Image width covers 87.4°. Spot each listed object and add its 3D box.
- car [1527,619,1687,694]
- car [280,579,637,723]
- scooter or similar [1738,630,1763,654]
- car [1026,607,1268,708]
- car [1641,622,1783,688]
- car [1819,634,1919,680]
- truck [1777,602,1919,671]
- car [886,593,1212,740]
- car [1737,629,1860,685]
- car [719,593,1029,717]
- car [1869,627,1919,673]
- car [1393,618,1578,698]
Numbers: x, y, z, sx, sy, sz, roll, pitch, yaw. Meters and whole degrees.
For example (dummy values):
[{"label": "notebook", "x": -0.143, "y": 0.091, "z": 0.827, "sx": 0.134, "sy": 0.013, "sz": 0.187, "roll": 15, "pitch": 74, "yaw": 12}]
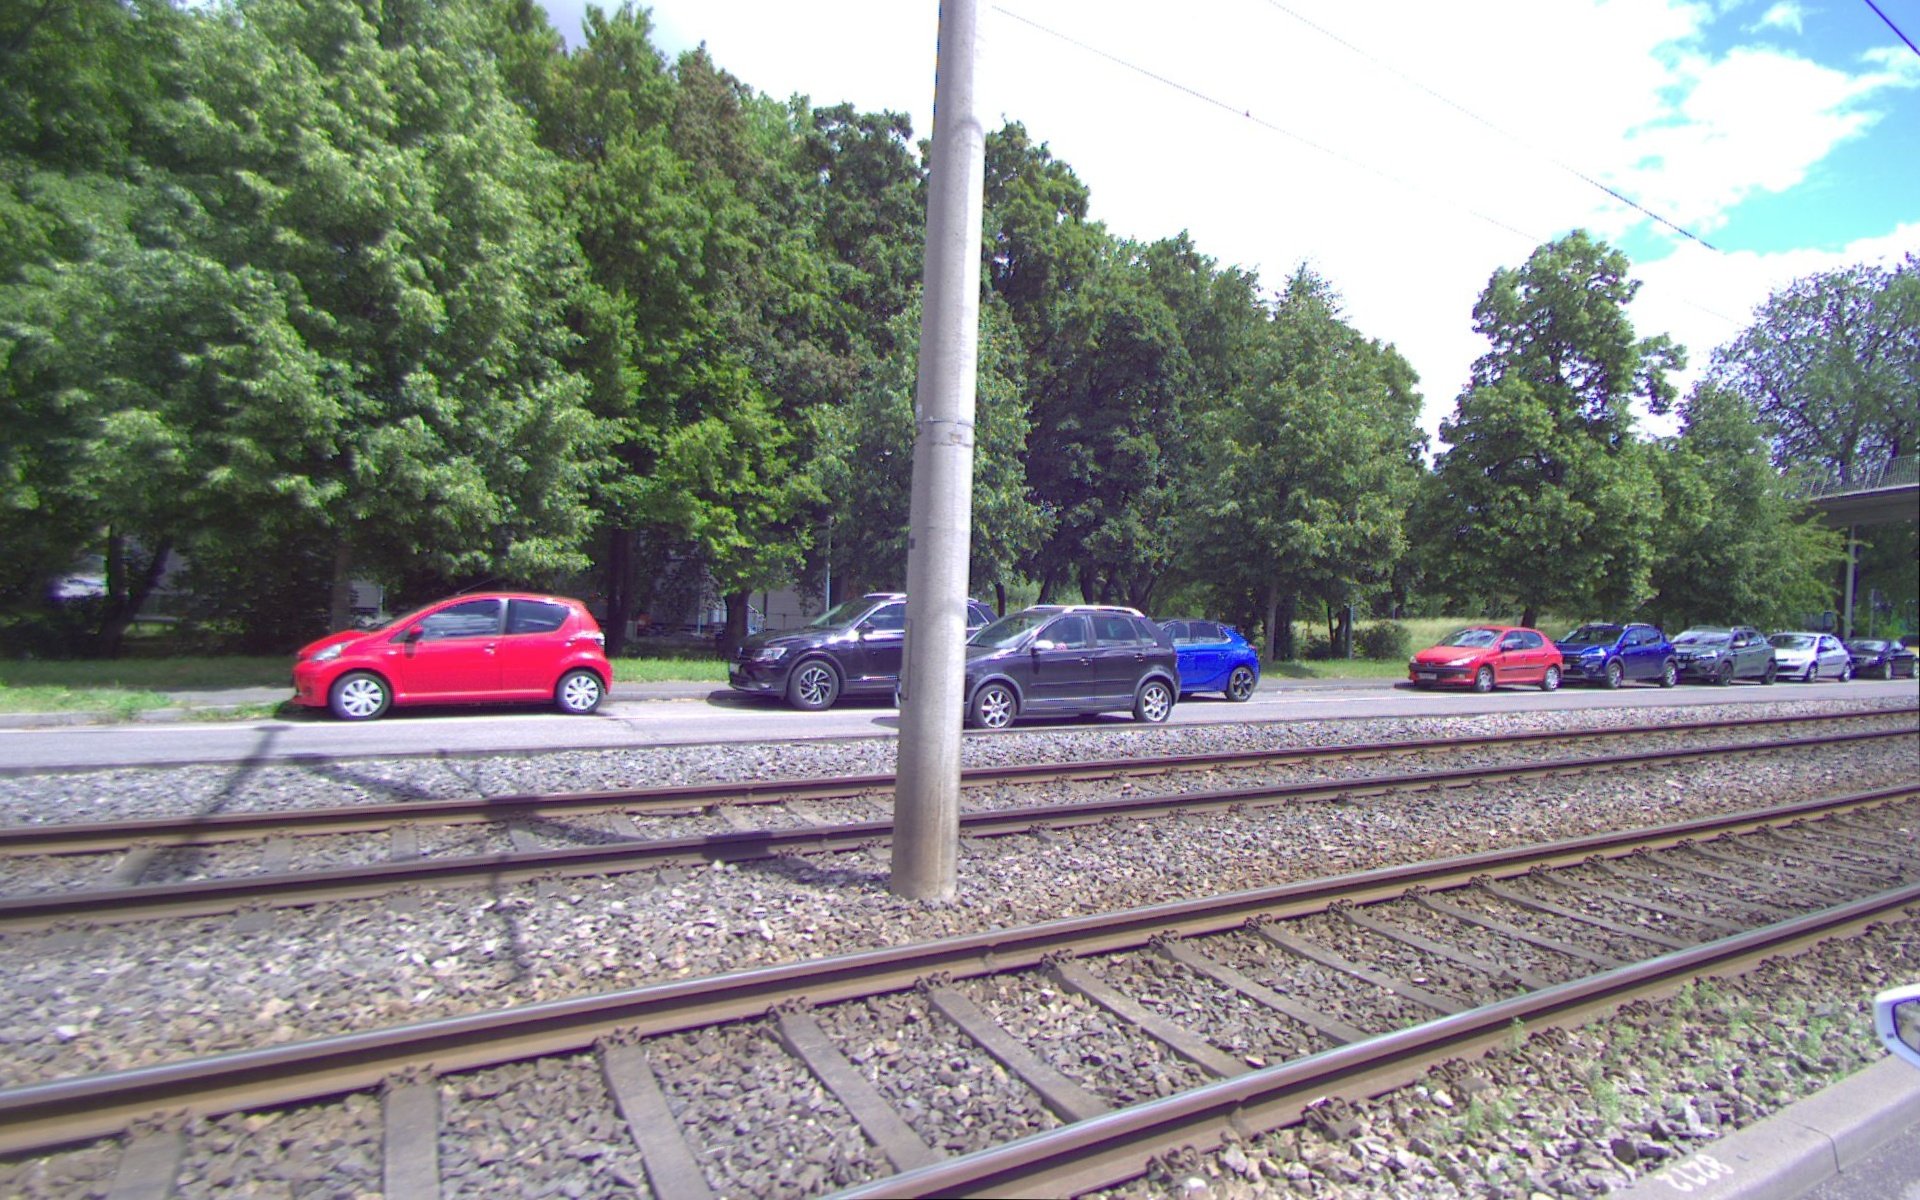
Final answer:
[{"label": "car", "x": 16.144, "y": 1.415, "z": 25.010, "sx": 4.111, "sy": 1.617, "sz": 1.550, "roll": 4, "pitch": 1, "yaw": -30}, {"label": "car", "x": -6.007, "y": 0.625, "z": 12.225, "sx": 3.623, "sy": 1.471, "sz": 1.604, "roll": 4, "pitch": 1, "yaw": -33}, {"label": "scooter or similar", "x": 41.016, "y": 2.188, "z": 52.119, "sx": 0.778, "sy": 1.162, "sz": 0.707, "roll": 3, "pitch": 1, "yaw": -28}, {"label": "car", "x": 3.273, "y": 1.010, "z": 17.401, "sx": 3.960, "sy": 1.480, "sz": 1.605, "roll": 4, "pitch": 1, "yaw": -30}, {"label": "car", "x": 20.729, "y": 1.509, "z": 27.664, "sx": 4.076, "sy": 1.644, "sz": 1.635, "roll": 2, "pitch": -1, "yaw": -30}, {"label": "car", "x": 30.209, "y": 1.880, "z": 33.171, "sx": 4.079, "sy": 1.378, "sz": 1.504, "roll": 2, "pitch": -1, "yaw": -30}, {"label": "truck", "x": 51.052, "y": 2.004, "z": 56.577, "sx": 2.823, "sy": 3.364, "sz": 9.032, "roll": 4, "pitch": 1, "yaw": 2}, {"label": "car", "x": 1.200, "y": 0.852, "z": 13.051, "sx": 3.954, "sy": 1.595, "sz": 1.605, "roll": 3, "pitch": 1, "yaw": -30}, {"label": "car", "x": 25.554, "y": 1.734, "z": 30.585, "sx": 4.145, "sy": 1.514, "sz": 1.585, "roll": 2, "pitch": 1, "yaw": -32}, {"label": "car", "x": -1.211, "y": 0.772, "z": 14.890, "sx": 4.322, "sy": 1.626, "sz": 1.573, "roll": 2, "pitch": -1, "yaw": -30}, {"label": "car", "x": 34.321, "y": 1.848, "z": 35.809, "sx": 3.852, "sy": 1.469, "sz": 1.681, "roll": 4, "pitch": 1, "yaw": -30}, {"label": "car", "x": 11.832, "y": 1.314, "z": 22.582, "sx": 3.996, "sy": 1.513, "sz": 1.607, "roll": 4, "pitch": 1, "yaw": -27}]
